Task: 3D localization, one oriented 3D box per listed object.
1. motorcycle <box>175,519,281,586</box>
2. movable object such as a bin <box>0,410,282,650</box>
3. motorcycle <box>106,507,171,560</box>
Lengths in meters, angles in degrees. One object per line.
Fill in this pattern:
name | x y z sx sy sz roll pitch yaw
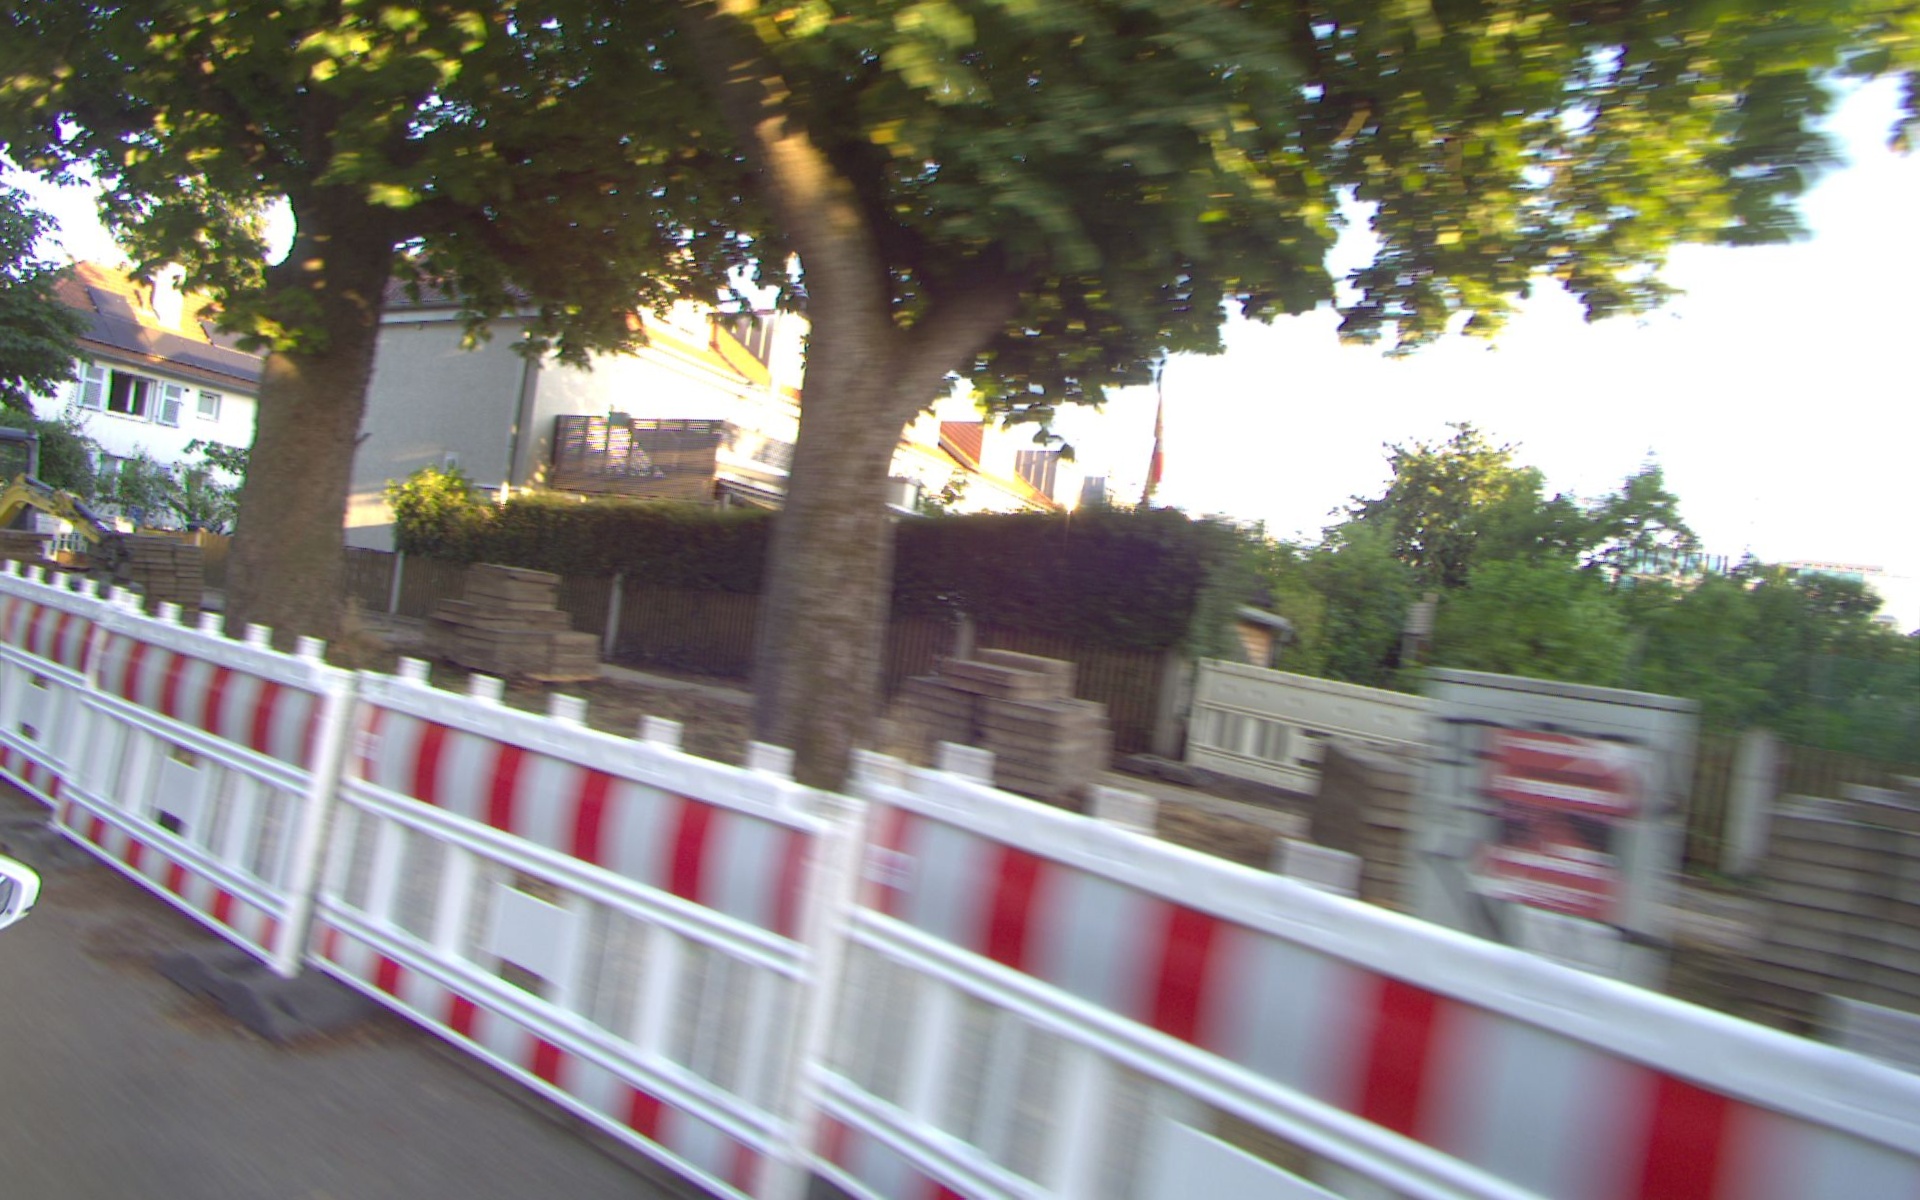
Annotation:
motorcycle | -19.423 -1.236 26.732 2.048 1.433 0.596 9 -1 -12
movable object such as a bin | -11.853 -0.985 13.057 5.105 2.430 2.637 8 -1 26
motorcycle | -20.013 -1.597 24.549 0.573 1.118 1.838 8 -1 -22
